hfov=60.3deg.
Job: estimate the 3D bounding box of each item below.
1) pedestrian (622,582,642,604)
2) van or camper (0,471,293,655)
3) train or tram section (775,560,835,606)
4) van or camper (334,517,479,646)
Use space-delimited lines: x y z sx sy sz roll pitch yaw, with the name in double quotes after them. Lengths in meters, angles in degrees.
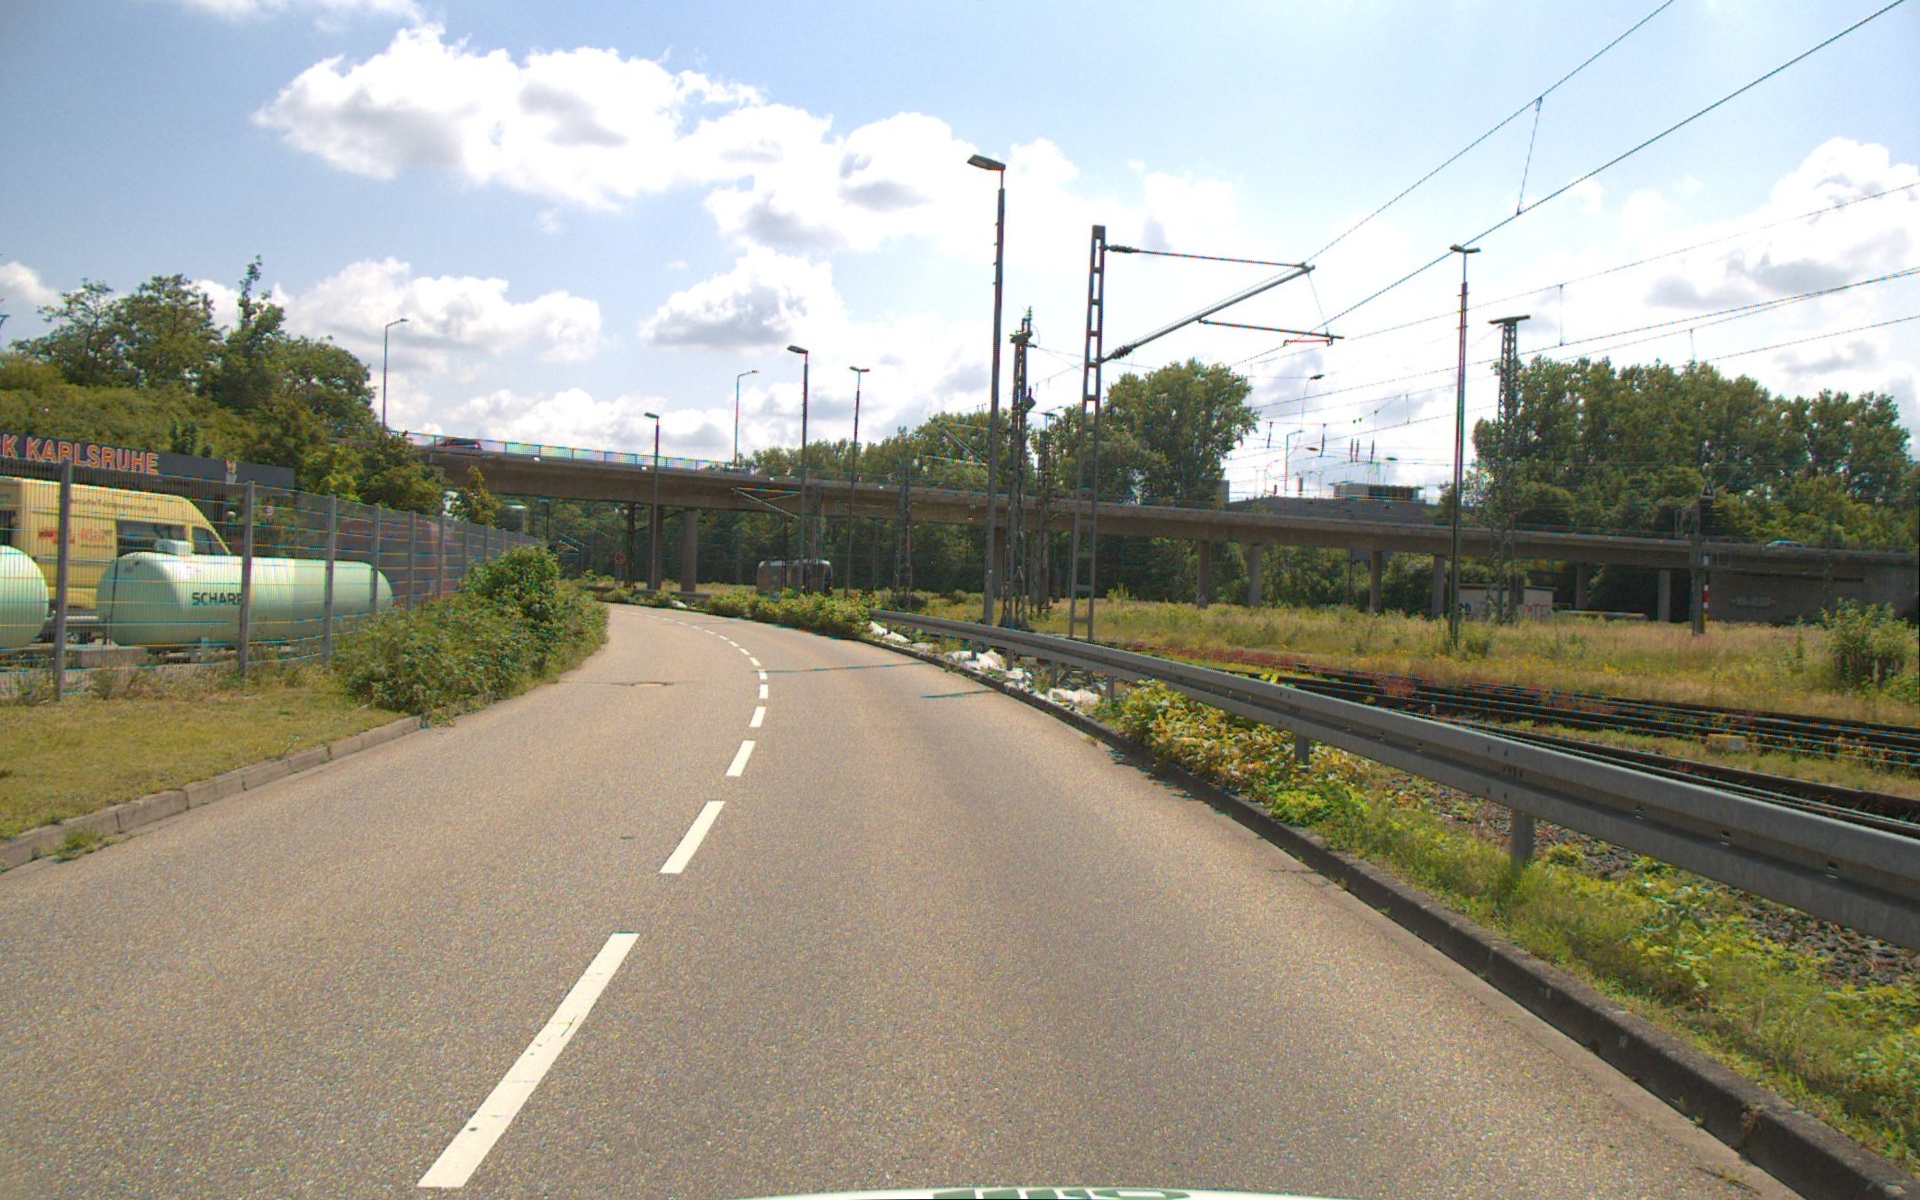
-24.035 -0.490 121.160 1.095 1.567 1.568 2 0 -23 "pedestrian"
-12.875 -0.495 25.097 2.194 2.468 5.664 1 0 13 "van or camper"
-12.695 -1.335 134.999 2.847 3.570 8.516 2 0 -19 "train or tram section"
-11.880 -0.422 35.896 2.148 2.558 5.688 -1 1 -10 "van or camper"
